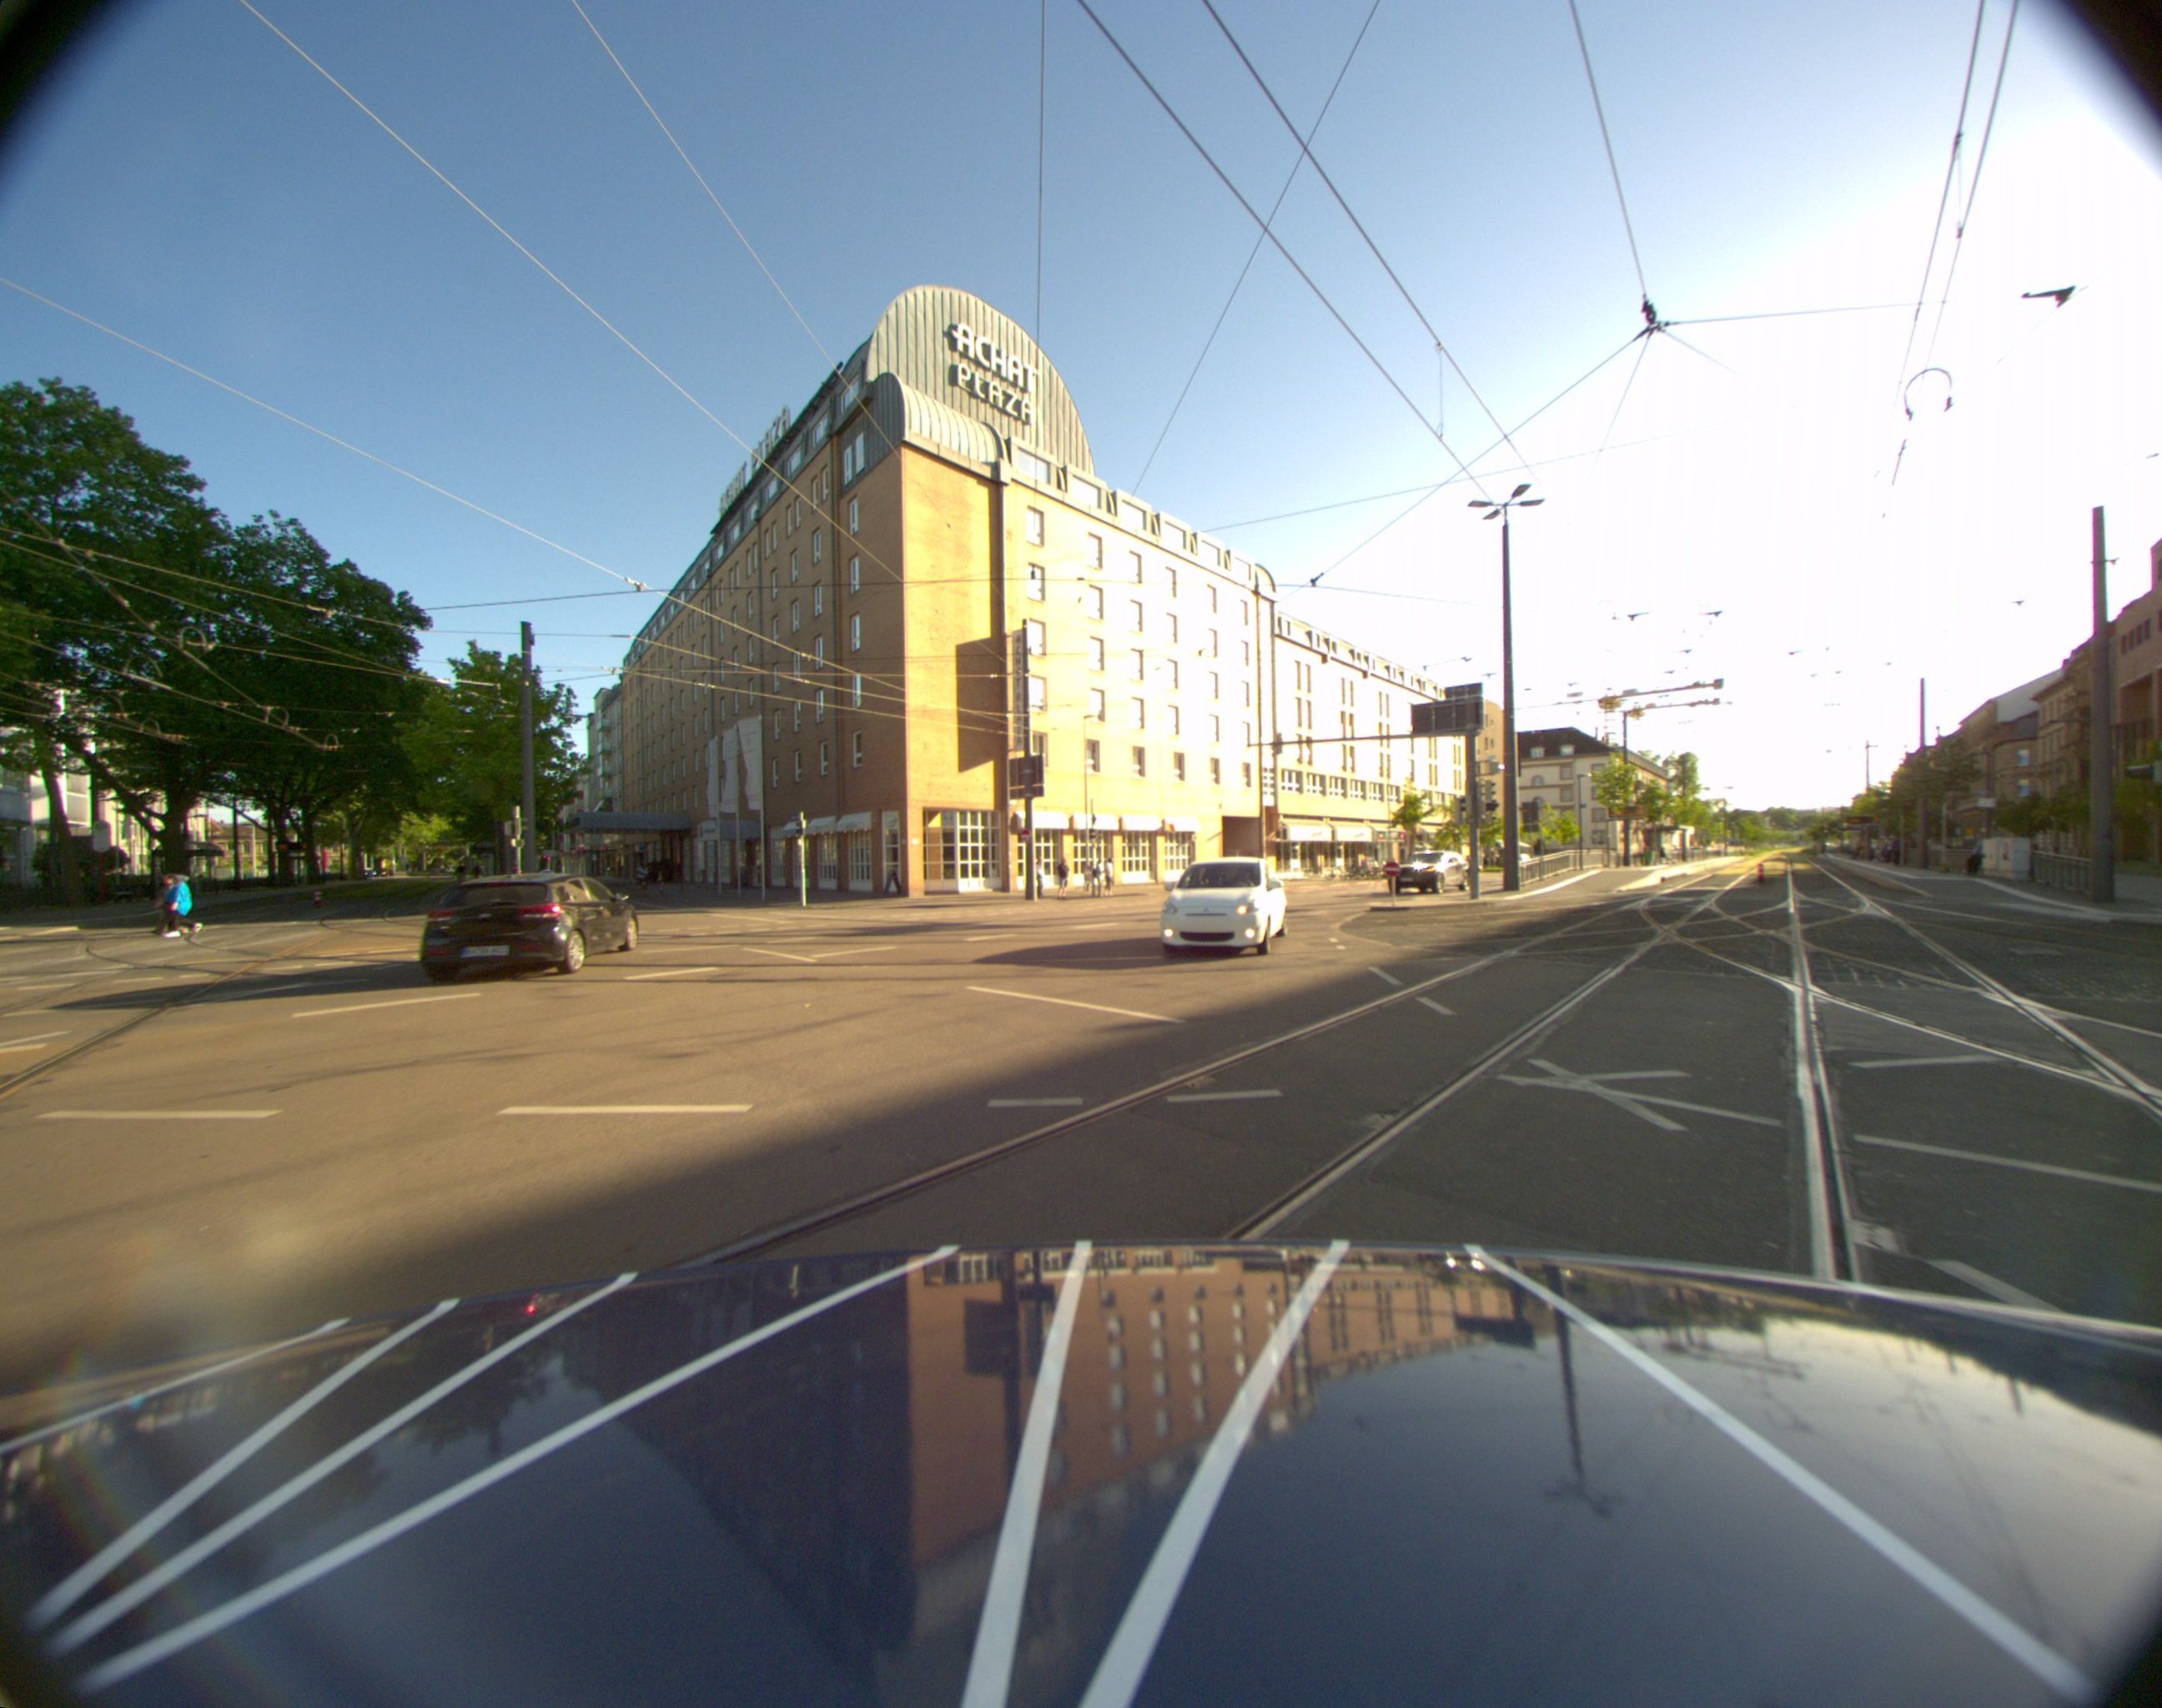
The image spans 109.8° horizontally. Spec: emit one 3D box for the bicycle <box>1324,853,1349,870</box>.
[{"bbox_3d":[17.644,0.501,52.497,0.554,1.142,1.772,-2,2,-26],"label":"bicycle"}]

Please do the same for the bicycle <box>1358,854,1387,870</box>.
[{"bbox_3d":[20.975,0.578,54.655,0.738,1.065,1.770,-3,3,-44],"label":"bicycle"}]

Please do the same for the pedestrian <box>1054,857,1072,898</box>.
[{"bbox_3d":[-0.785,1.015,32.945,0.695,1.757,0.573,-1,-1,-8],"label":"pedestrian"}]

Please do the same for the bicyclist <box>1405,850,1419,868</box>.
[{"bbox_3d":[29.552,0.452,67.864,0.851,1.507,0.579,2,3,-17],"label":"bicyclist"}]

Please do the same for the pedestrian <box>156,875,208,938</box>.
[{"bbox_3d":[-22.522,1.304,19.037,0.675,1.530,0.744,-3,0,36],"label":"pedestrian"}]

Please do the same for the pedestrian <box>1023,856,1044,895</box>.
[{"bbox_3d":[-2.138,0.950,33.943,0.602,1.717,0.604,-2,0,44],"label":"pedestrian"}]

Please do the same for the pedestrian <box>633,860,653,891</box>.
[{"bbox_3d":[-22.851,1.127,39.623,0.773,1.584,0.836,-2,0,-36],"label":"pedestrian"}]

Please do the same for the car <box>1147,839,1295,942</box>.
[{"bbox_3d":[2.566,0.531,13.054,1.637,1.458,4.193,-1,0,22],"label":"car"}]

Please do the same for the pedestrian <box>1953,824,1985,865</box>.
[{"bbox_3d":[34.135,-0.353,29.214,0.700,1.526,0.655,-1,1,41],"label":"pedestrian"}]

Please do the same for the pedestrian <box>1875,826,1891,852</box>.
[{"bbox_3d":[54.946,-1.018,52.038,0.691,1.732,0.587,-1,1,41],"label":"pedestrian"}]

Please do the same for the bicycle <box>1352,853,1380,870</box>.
[{"bbox_3d":[20.167,0.527,53.719,0.554,1.135,1.770,-4,3,-44],"label":"bicycle"}]

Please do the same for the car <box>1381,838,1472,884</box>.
[{"bbox_3d":[13.907,0.260,30.440,1.951,1.652,4.364,-3,-1,43],"label":"car"}]

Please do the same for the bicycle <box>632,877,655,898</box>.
[{"bbox_3d":[-22.793,1.727,39.581,0.793,1.045,1.918,-2,0,-36],"label":"bicycle"}]

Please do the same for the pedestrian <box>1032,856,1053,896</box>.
[{"bbox_3d":[-1.688,0.974,33.461,0.561,1.693,0.660,-3,0,44],"label":"pedestrian"}]

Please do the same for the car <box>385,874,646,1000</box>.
[{"bbox_3d":[-8.365,1.090,11.772,1.798,1.457,4.305,-1,0,-16],"label":"car"}]

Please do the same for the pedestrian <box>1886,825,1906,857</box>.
[{"bbox_3d":[44.820,-0.733,41.790,0.691,1.732,0.587,-1,1,41],"label":"pedestrian"}]

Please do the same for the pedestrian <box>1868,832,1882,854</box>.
[{"bbox_3d":[58.587,-0.810,56.061,0.691,1.566,0.587,-1,1,41],"label":"pedestrian"}]

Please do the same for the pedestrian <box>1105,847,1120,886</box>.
[{"bbox_3d":[1.466,0.587,35.160,0.579,1.764,0.404,-1,2,-17],"label":"pedestrian"}]

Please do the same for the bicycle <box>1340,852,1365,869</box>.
[{"bbox_3d":[18.981,0.449,53.125,0.554,1.142,1.772,-2,2,-26],"label":"bicycle"}]

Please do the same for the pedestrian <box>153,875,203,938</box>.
[{"bbox_3d":[-23.084,1.324,19.429,0.650,1.530,0.744,-3,0,36],"label":"pedestrian"}]

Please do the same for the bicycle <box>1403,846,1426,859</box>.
[{"bbox_3d":[29.802,-0.154,67.886,1.883,1.045,0.601,1,4,-17],"label":"bicycle"}]
